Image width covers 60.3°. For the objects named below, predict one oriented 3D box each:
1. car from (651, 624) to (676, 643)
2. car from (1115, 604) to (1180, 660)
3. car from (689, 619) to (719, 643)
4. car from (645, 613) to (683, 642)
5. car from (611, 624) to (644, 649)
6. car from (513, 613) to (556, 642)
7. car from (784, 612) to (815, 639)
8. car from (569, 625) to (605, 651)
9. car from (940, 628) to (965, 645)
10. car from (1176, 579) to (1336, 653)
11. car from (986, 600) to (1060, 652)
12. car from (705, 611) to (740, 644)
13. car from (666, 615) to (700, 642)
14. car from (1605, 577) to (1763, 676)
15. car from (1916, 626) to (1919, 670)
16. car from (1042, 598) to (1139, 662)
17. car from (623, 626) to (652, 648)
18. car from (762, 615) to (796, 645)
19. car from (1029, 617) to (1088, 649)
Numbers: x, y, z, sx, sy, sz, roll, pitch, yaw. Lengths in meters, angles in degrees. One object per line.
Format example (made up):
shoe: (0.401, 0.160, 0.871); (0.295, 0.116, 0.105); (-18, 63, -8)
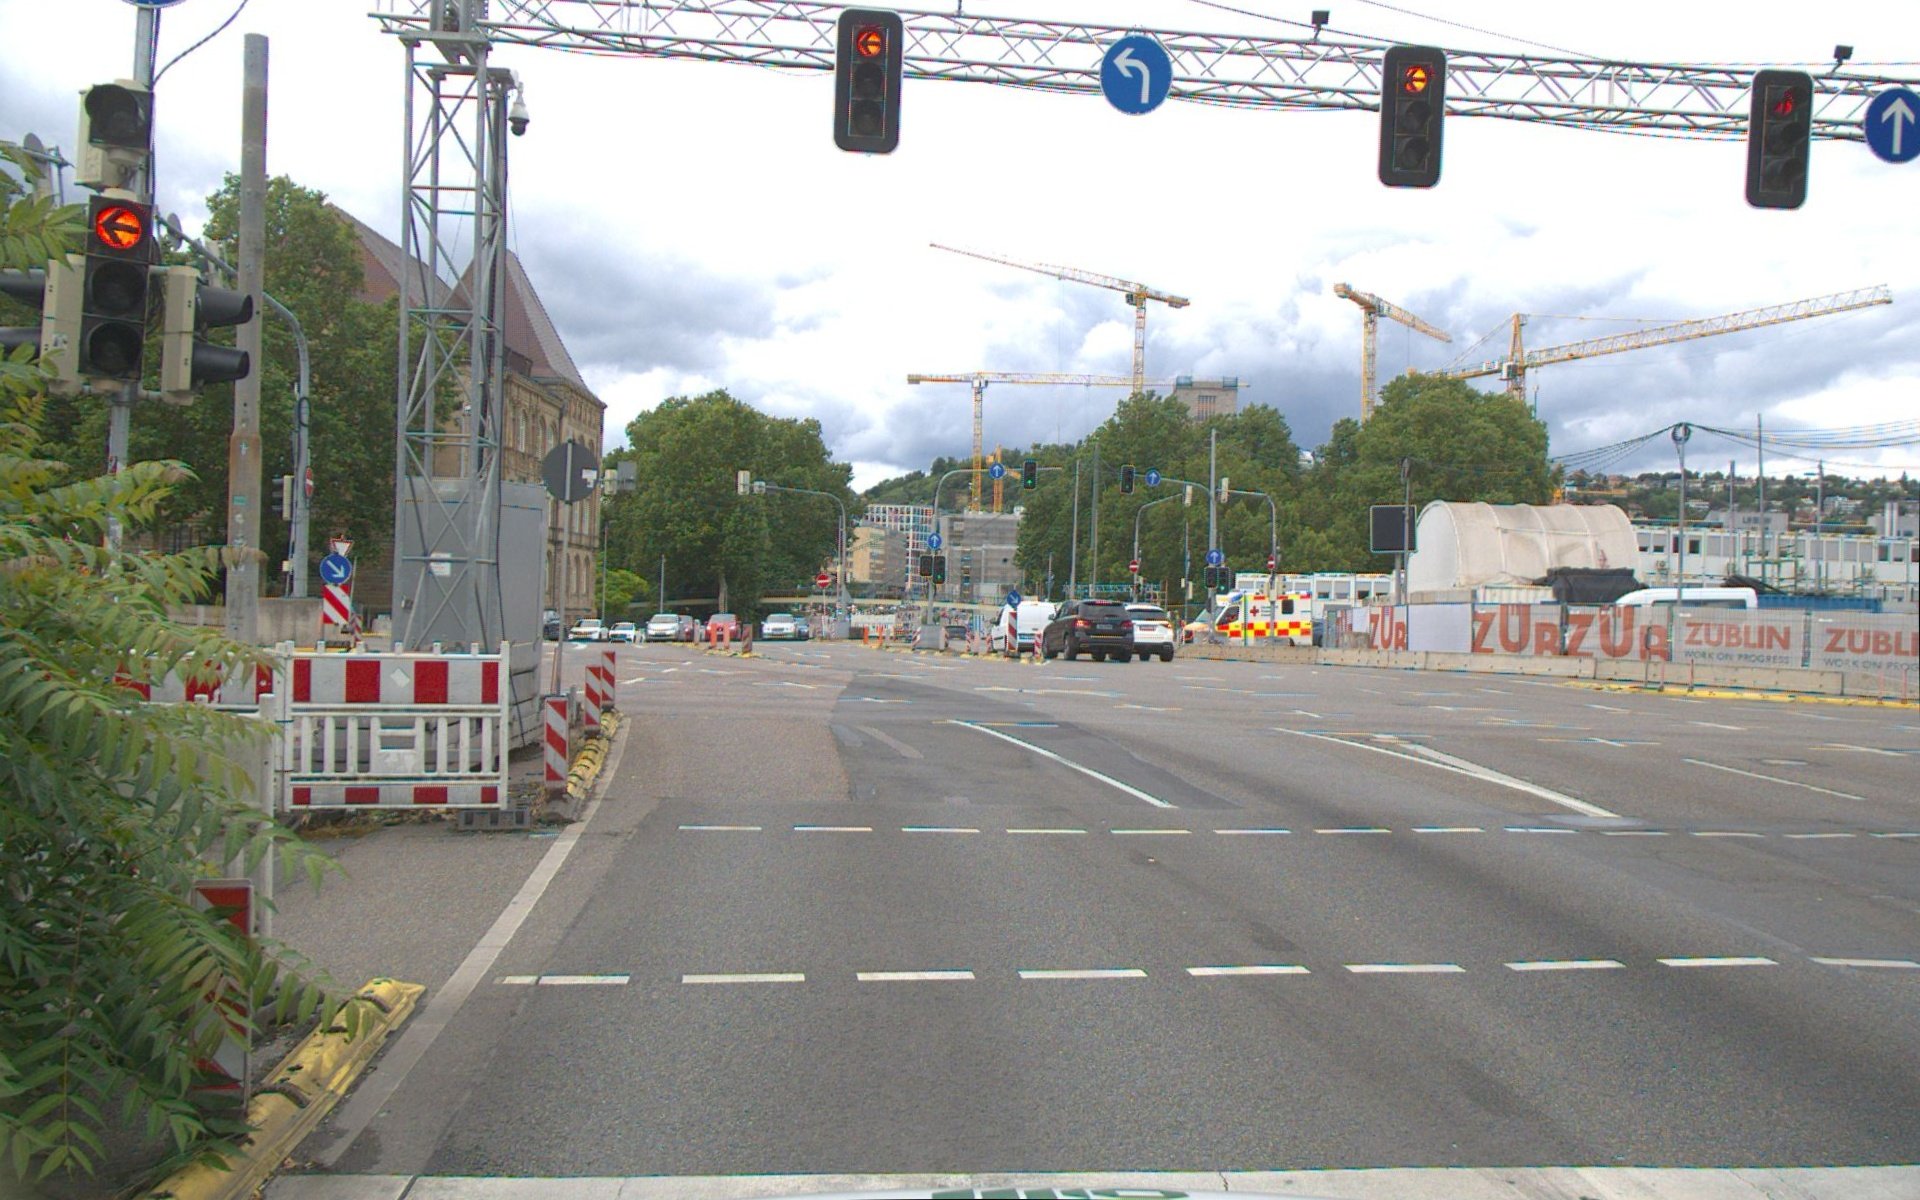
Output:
car: (-23.066, 2.601, 128.817); (1.644, 1.422, 3.677); (1, 0, -7)
car: (6.035, 0.998, 53.509); (1.642, 1.732, 3.374); (1, 0, -1)
car: (-15.806, 1.891, 102.181); (1.644, 1.422, 3.677); (1, 0, -7)
car: (-15.259, 1.417, 85.381); (1.644, 1.422, 3.677); (1, 0, -7)
car: (-21.651, 2.375, 107.733); (1.643, 1.422, 3.680); (2, 1, -5)
car: (-21.637, 1.383, 84.239); (1.644, 1.422, 3.677); (1, 0, -7)
car: (-8.975, 1.403, 92.169); (1.644, 1.422, 3.677); (1, 0, -7)
car: (-21.664, 2.209, 96.226); (1.644, 1.422, 3.677); (1, 0, -7)
car: (-0.581, 2.650, 120.865); (1.284, 1.093, 3.676); (1, 0, -8)
car: (13.094, 0.724, 73.147); (6.636, 3.105, 2.359); (1, 0, -19)
car: (2.080, 0.849, 55.554); (1.783, 1.653, 3.993); (1, 0, -8)
car: (-12.127, 1.375, 84.520); (1.644, 1.608, 3.677); (1, 0, -7)
car: (-15.300, 1.545, 91.540); (1.644, 1.422, 3.677); (1, 0, -7)
car: (20.823, 0.747, 47.687); (3.902, 2.708, 1.683); (1, 0, 13)
car: (34.855, 1.721, 57.938); (1.641, 1.554, 4.001); (1, 0, 20)
car: (3.778, 0.840, 48.533); (1.799, 1.776, 4.245); (1, 0, -10)
car: (-22.475, 2.584, 115.410); (1.644, 1.422, 3.677); (1, 0, -7)
car: (-9.296, 1.519, 84.867); (1.644, 1.422, 3.677); (1, 0, -7)
car: (4.509, 1.506, 76.042); (1.650, 1.422, 3.070); (1, 0, -19)
